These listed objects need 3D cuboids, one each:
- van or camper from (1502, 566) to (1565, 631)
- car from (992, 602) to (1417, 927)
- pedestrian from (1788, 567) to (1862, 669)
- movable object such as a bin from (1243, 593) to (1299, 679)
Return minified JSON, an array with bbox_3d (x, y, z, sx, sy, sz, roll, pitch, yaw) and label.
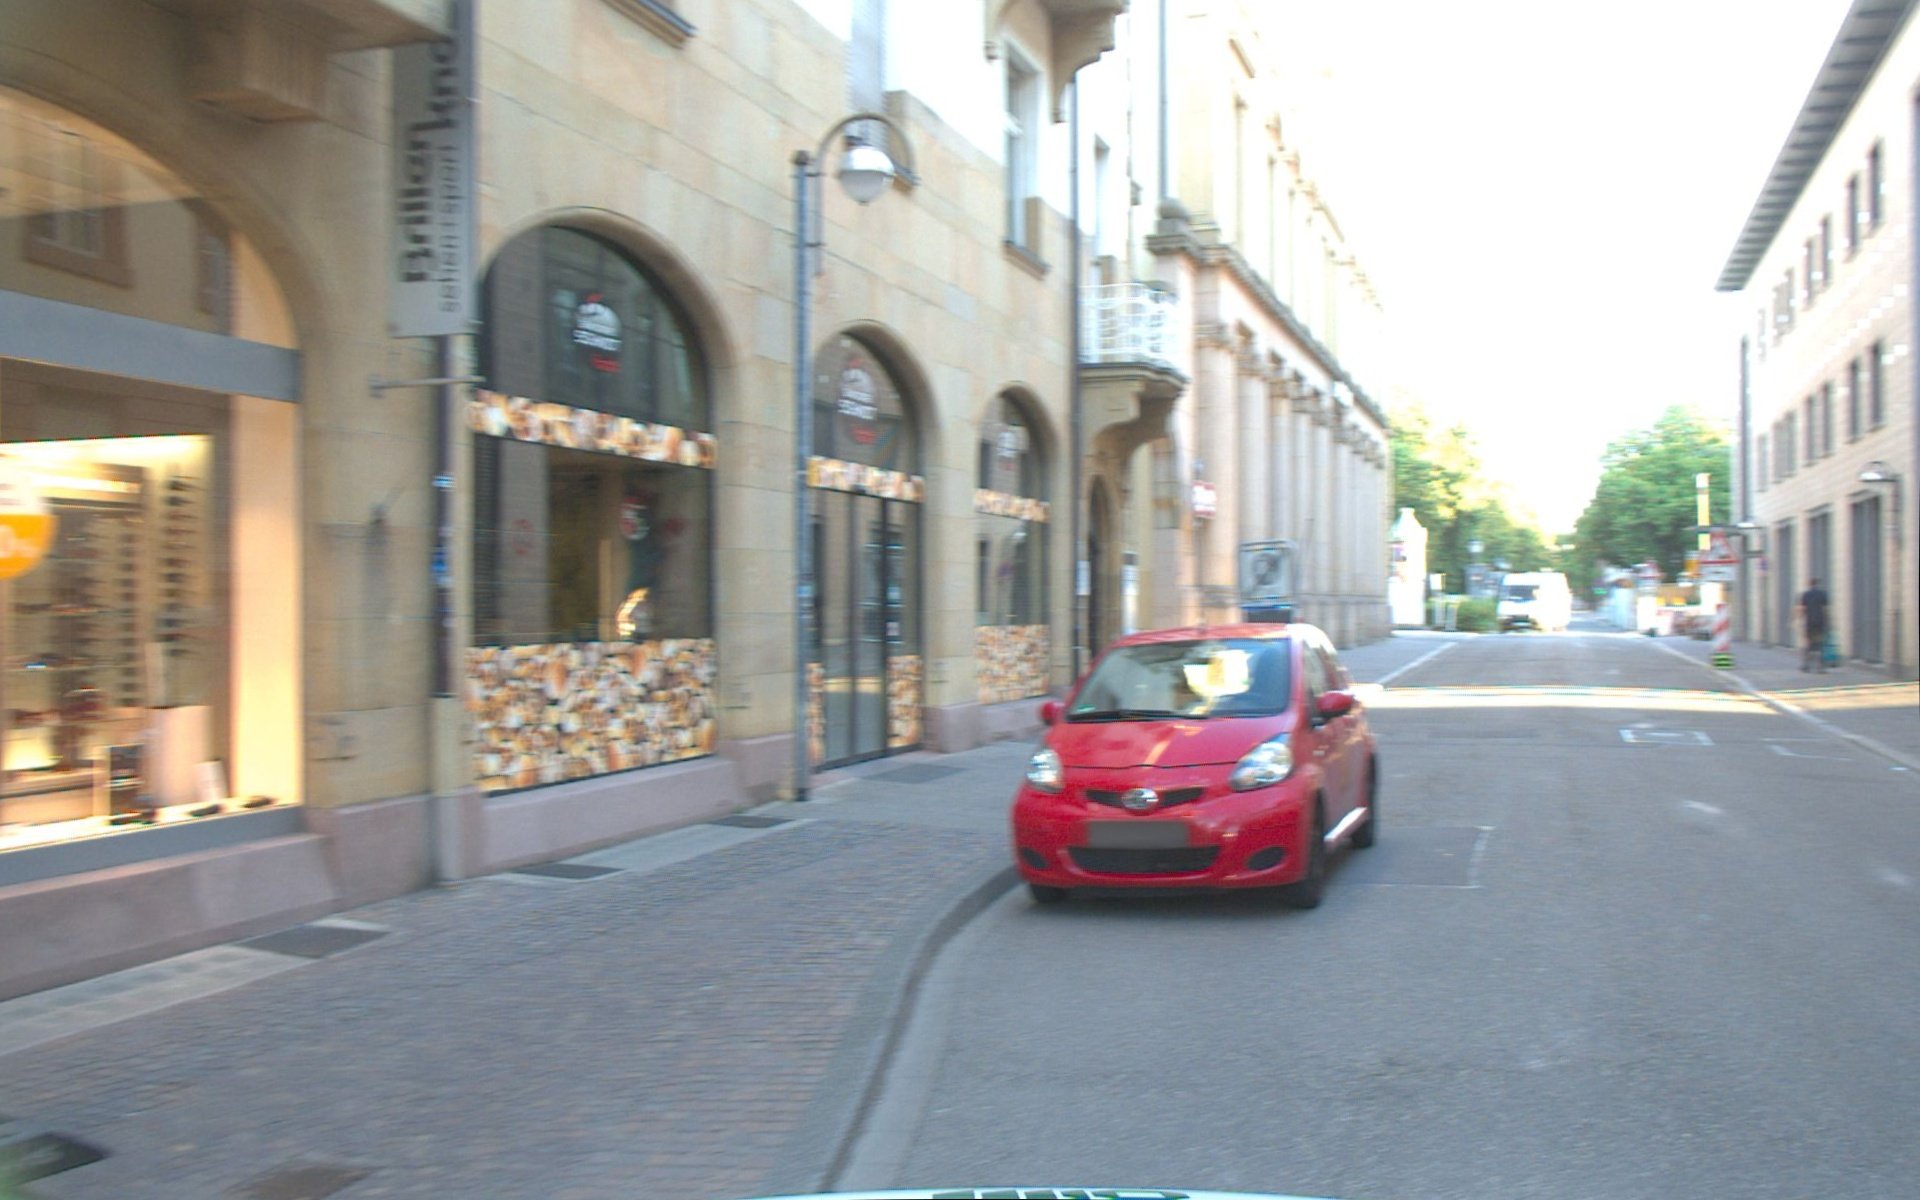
[{"bbox_3d":[24.389,-0.087,70.201,2.174,2.630,6.371,0,0,23],"label":"van or camper"},{"bbox_3d":[1.656,0.815,9.874,1.623,1.495,3.932,-3,-1,21],"label":"car"},{"bbox_3d":[16.361,0.348,31.319,0.980,1.835,0.882,-5,-2,20],"label":"pedestrian"},{"bbox_3d":[5.737,0.642,30.467,0.812,1.529,1.291,0,0,21],"label":"movable object such as a bin"}]
